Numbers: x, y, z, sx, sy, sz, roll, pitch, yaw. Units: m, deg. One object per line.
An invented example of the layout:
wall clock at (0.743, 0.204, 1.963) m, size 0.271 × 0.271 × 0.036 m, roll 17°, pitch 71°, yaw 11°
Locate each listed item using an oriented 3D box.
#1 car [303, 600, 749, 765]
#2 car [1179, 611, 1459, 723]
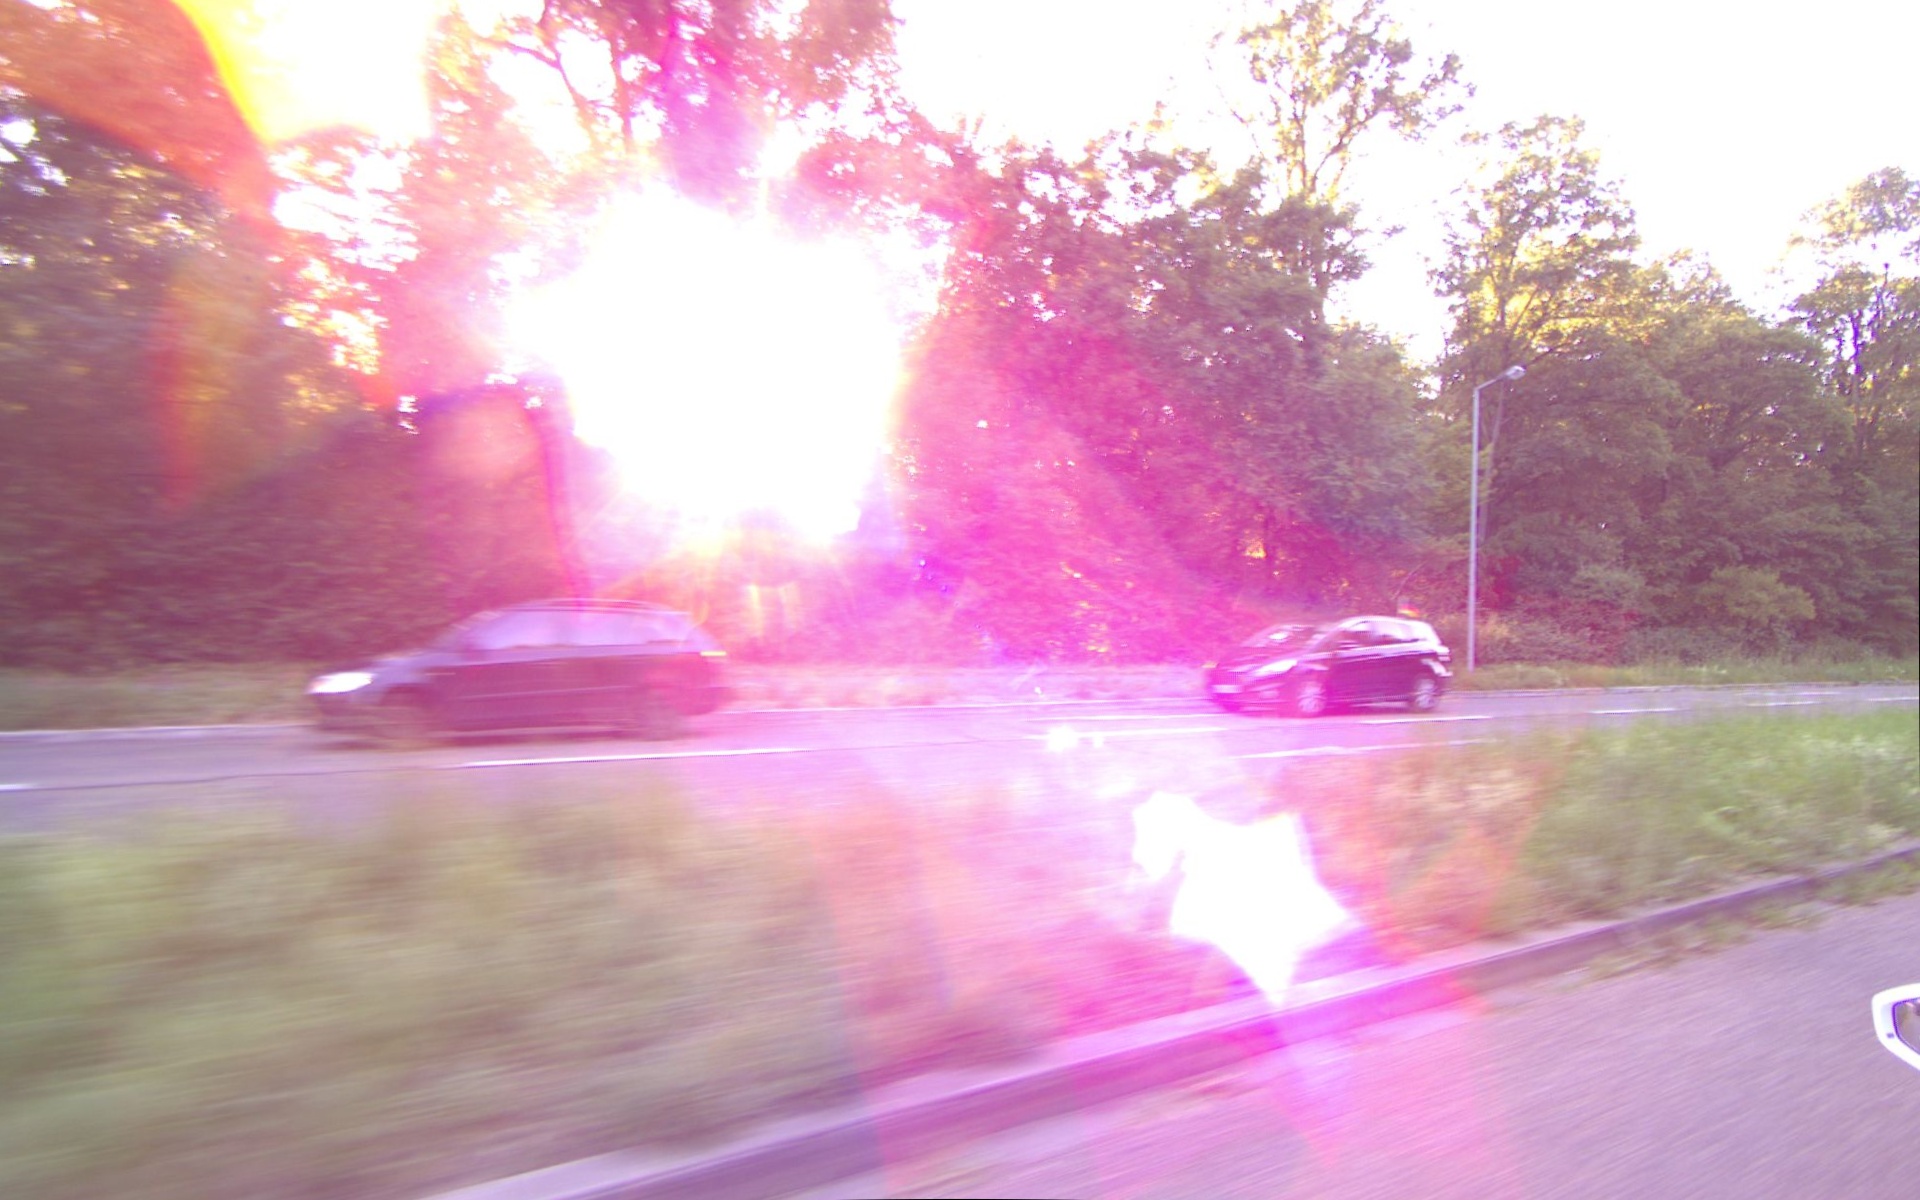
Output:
car at (-4.633, 0.839, 11.034) m, size 4.184 × 1.499 × 1.814 m, roll 2°, pitch -2°, yaw -31°
car at (6.092, 1.083, 16.926) m, size 4.597 × 1.649 × 1.984 m, roll 2°, pitch -2°, yaw -31°
